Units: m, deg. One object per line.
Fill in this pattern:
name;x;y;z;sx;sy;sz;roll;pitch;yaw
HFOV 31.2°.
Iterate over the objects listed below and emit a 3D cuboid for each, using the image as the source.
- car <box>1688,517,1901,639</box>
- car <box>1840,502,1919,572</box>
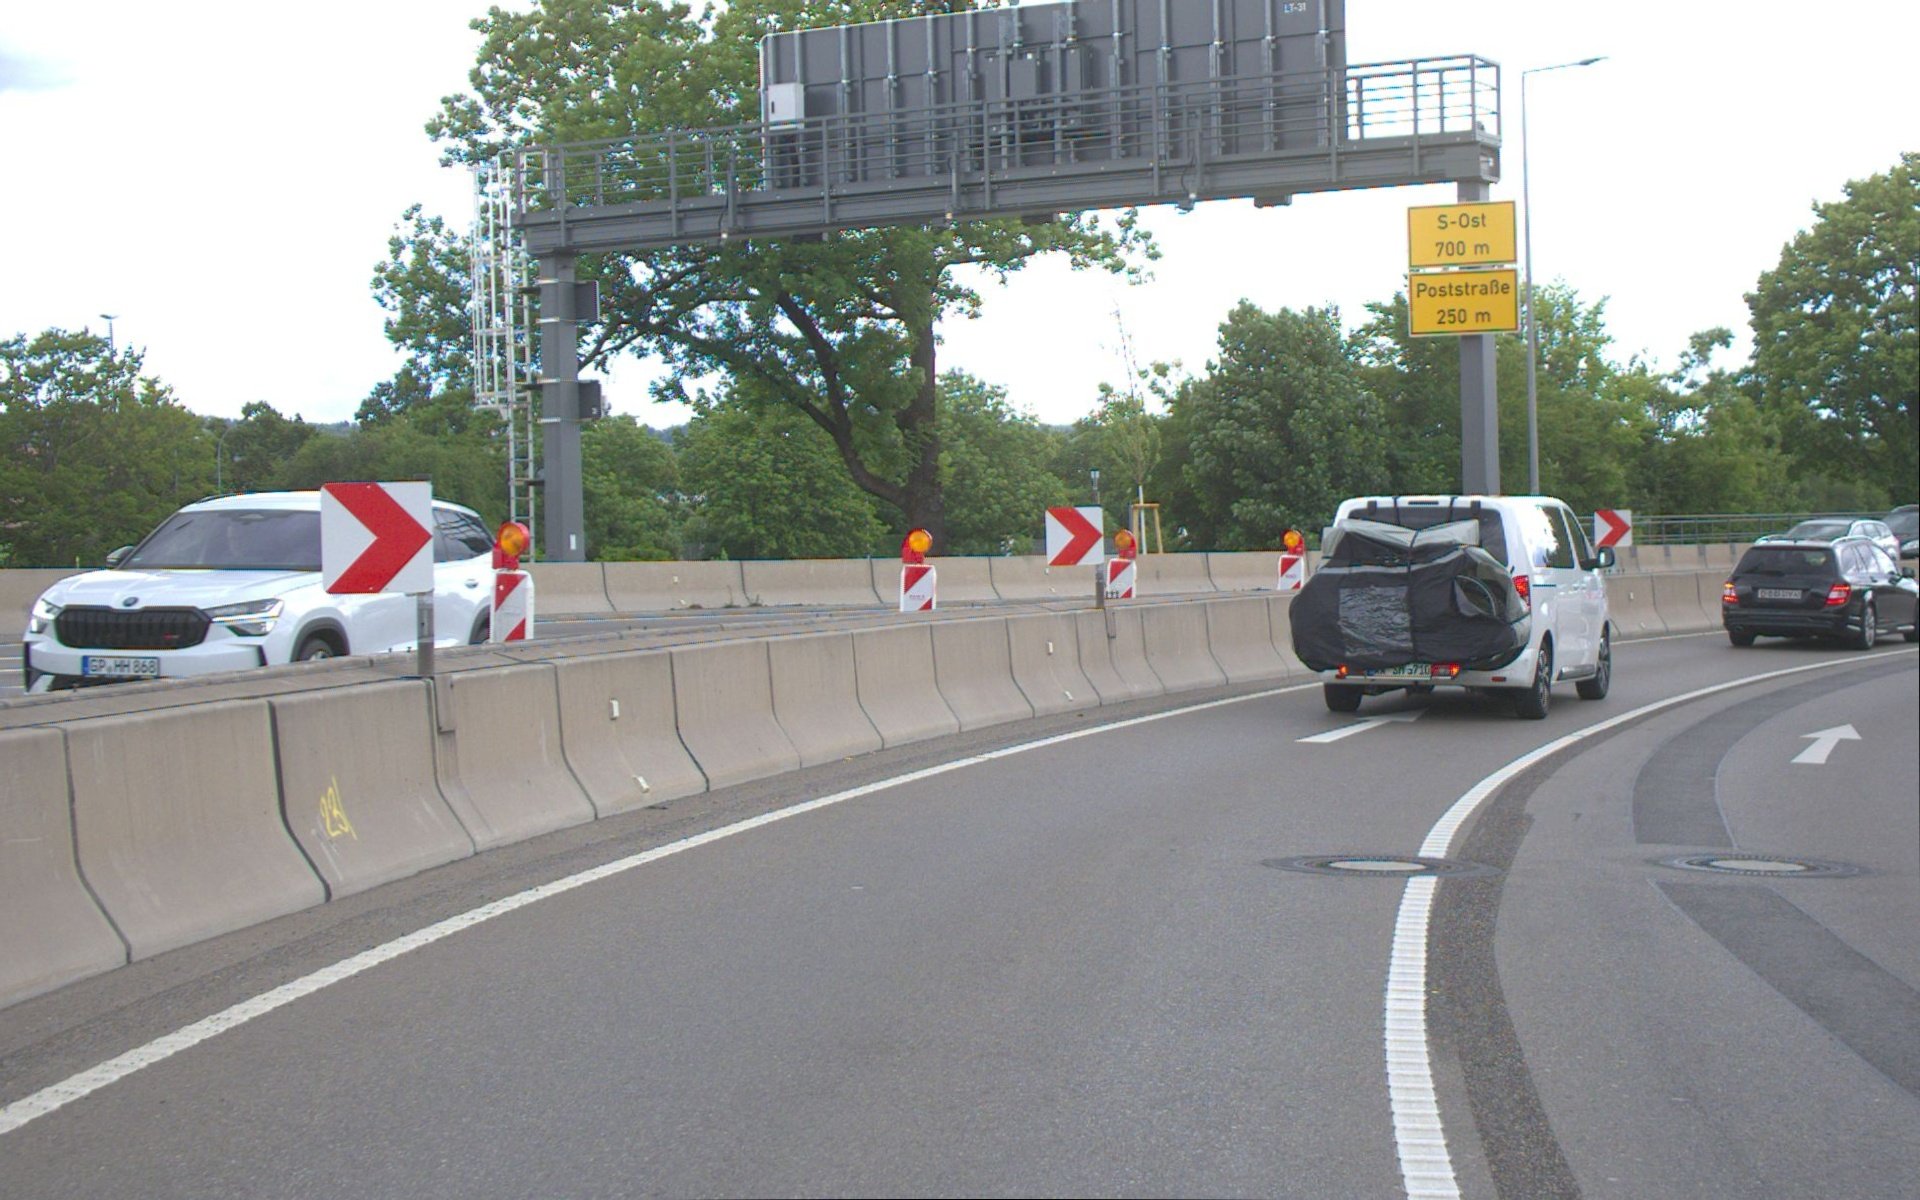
car;10.620;-0.306;43.560;1.817;1.429;4.060;-1;1;25
car;23.598;-1.552;84.584;1.998;1.666;4.718;2;2;38
